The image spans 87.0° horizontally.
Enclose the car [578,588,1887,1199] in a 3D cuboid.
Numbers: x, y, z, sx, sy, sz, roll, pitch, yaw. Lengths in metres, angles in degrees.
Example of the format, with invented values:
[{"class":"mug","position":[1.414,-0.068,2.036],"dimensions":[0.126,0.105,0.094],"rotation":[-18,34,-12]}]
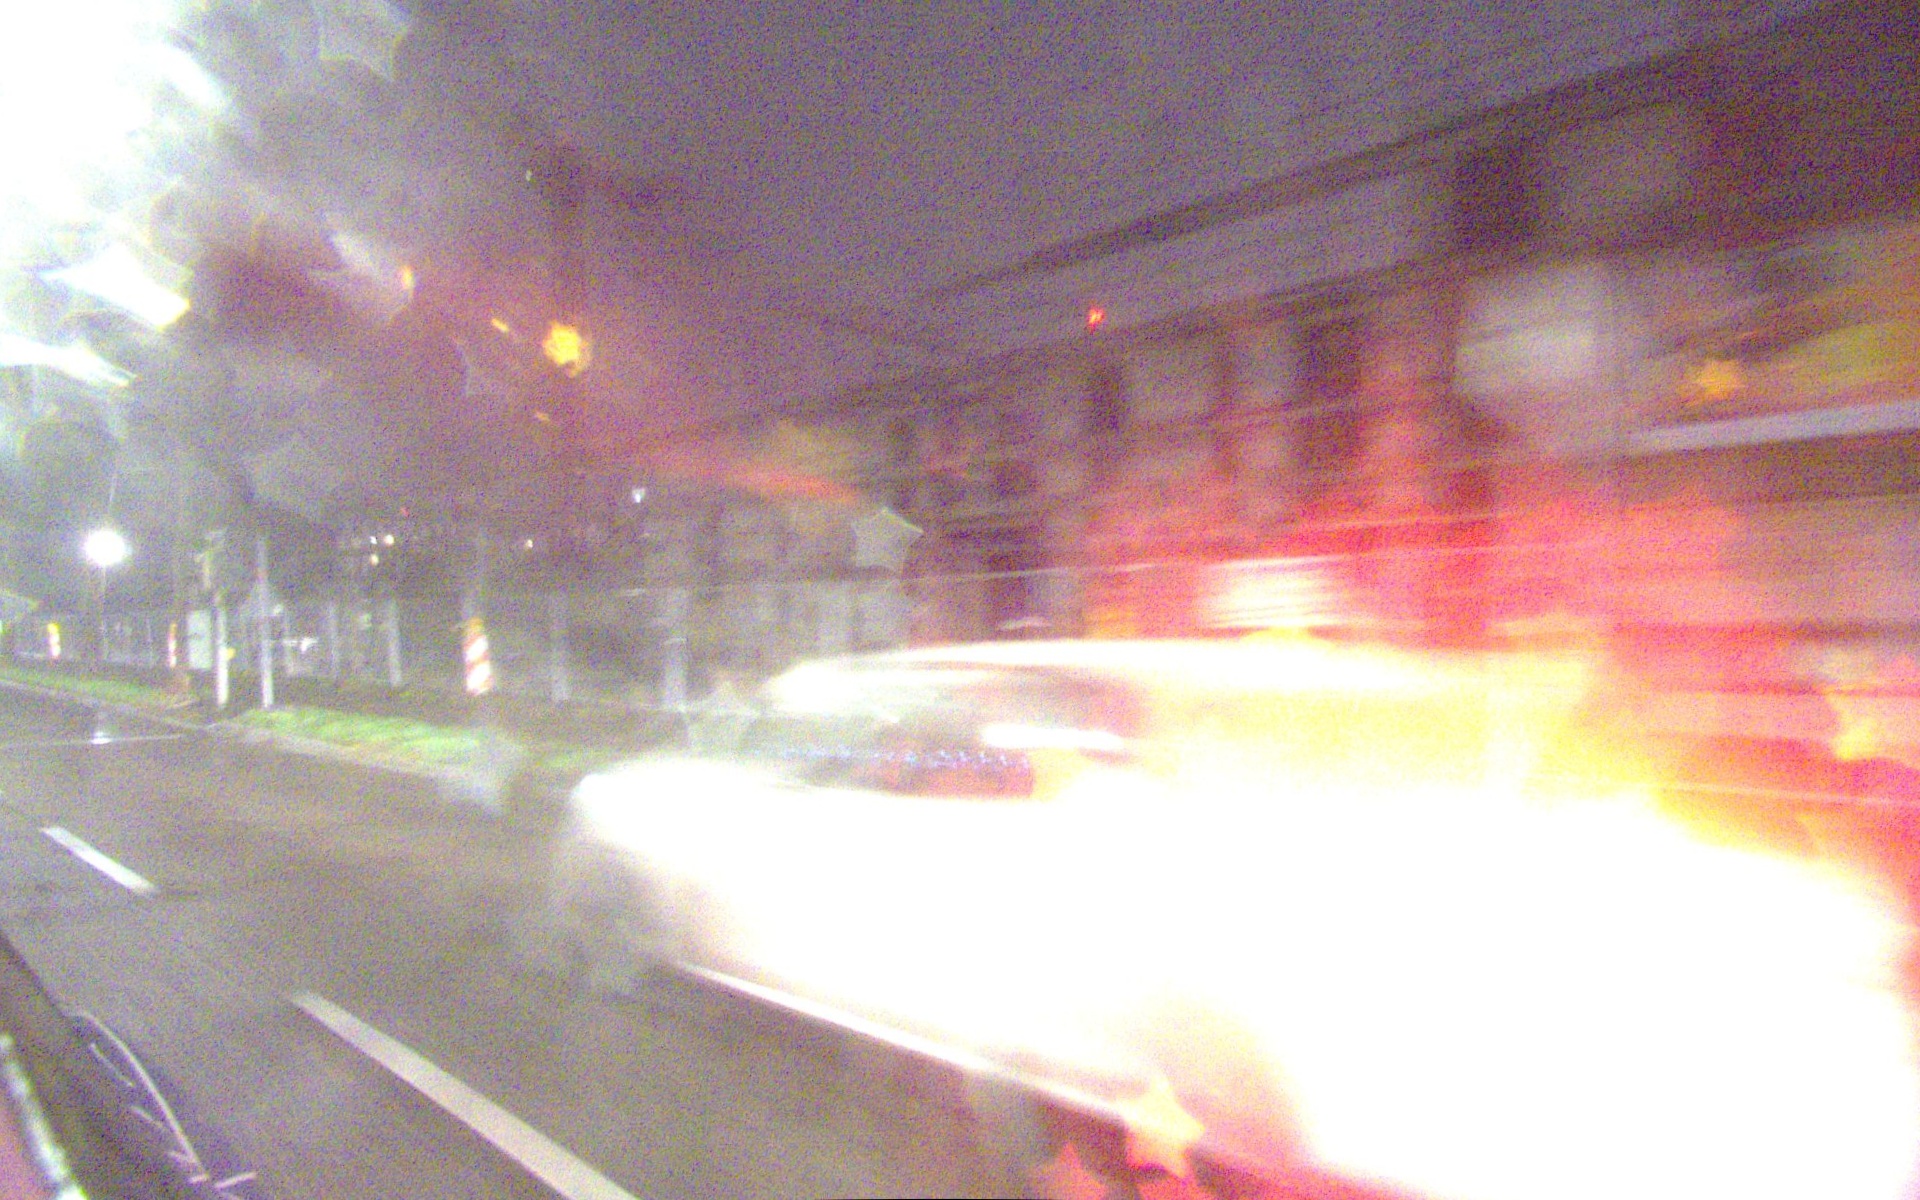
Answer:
[{"class":"car","position":[0.484,0.767,3.550],"dimensions":[3.998,1.444,1.727],"rotation":[-2,-2,41]}]
